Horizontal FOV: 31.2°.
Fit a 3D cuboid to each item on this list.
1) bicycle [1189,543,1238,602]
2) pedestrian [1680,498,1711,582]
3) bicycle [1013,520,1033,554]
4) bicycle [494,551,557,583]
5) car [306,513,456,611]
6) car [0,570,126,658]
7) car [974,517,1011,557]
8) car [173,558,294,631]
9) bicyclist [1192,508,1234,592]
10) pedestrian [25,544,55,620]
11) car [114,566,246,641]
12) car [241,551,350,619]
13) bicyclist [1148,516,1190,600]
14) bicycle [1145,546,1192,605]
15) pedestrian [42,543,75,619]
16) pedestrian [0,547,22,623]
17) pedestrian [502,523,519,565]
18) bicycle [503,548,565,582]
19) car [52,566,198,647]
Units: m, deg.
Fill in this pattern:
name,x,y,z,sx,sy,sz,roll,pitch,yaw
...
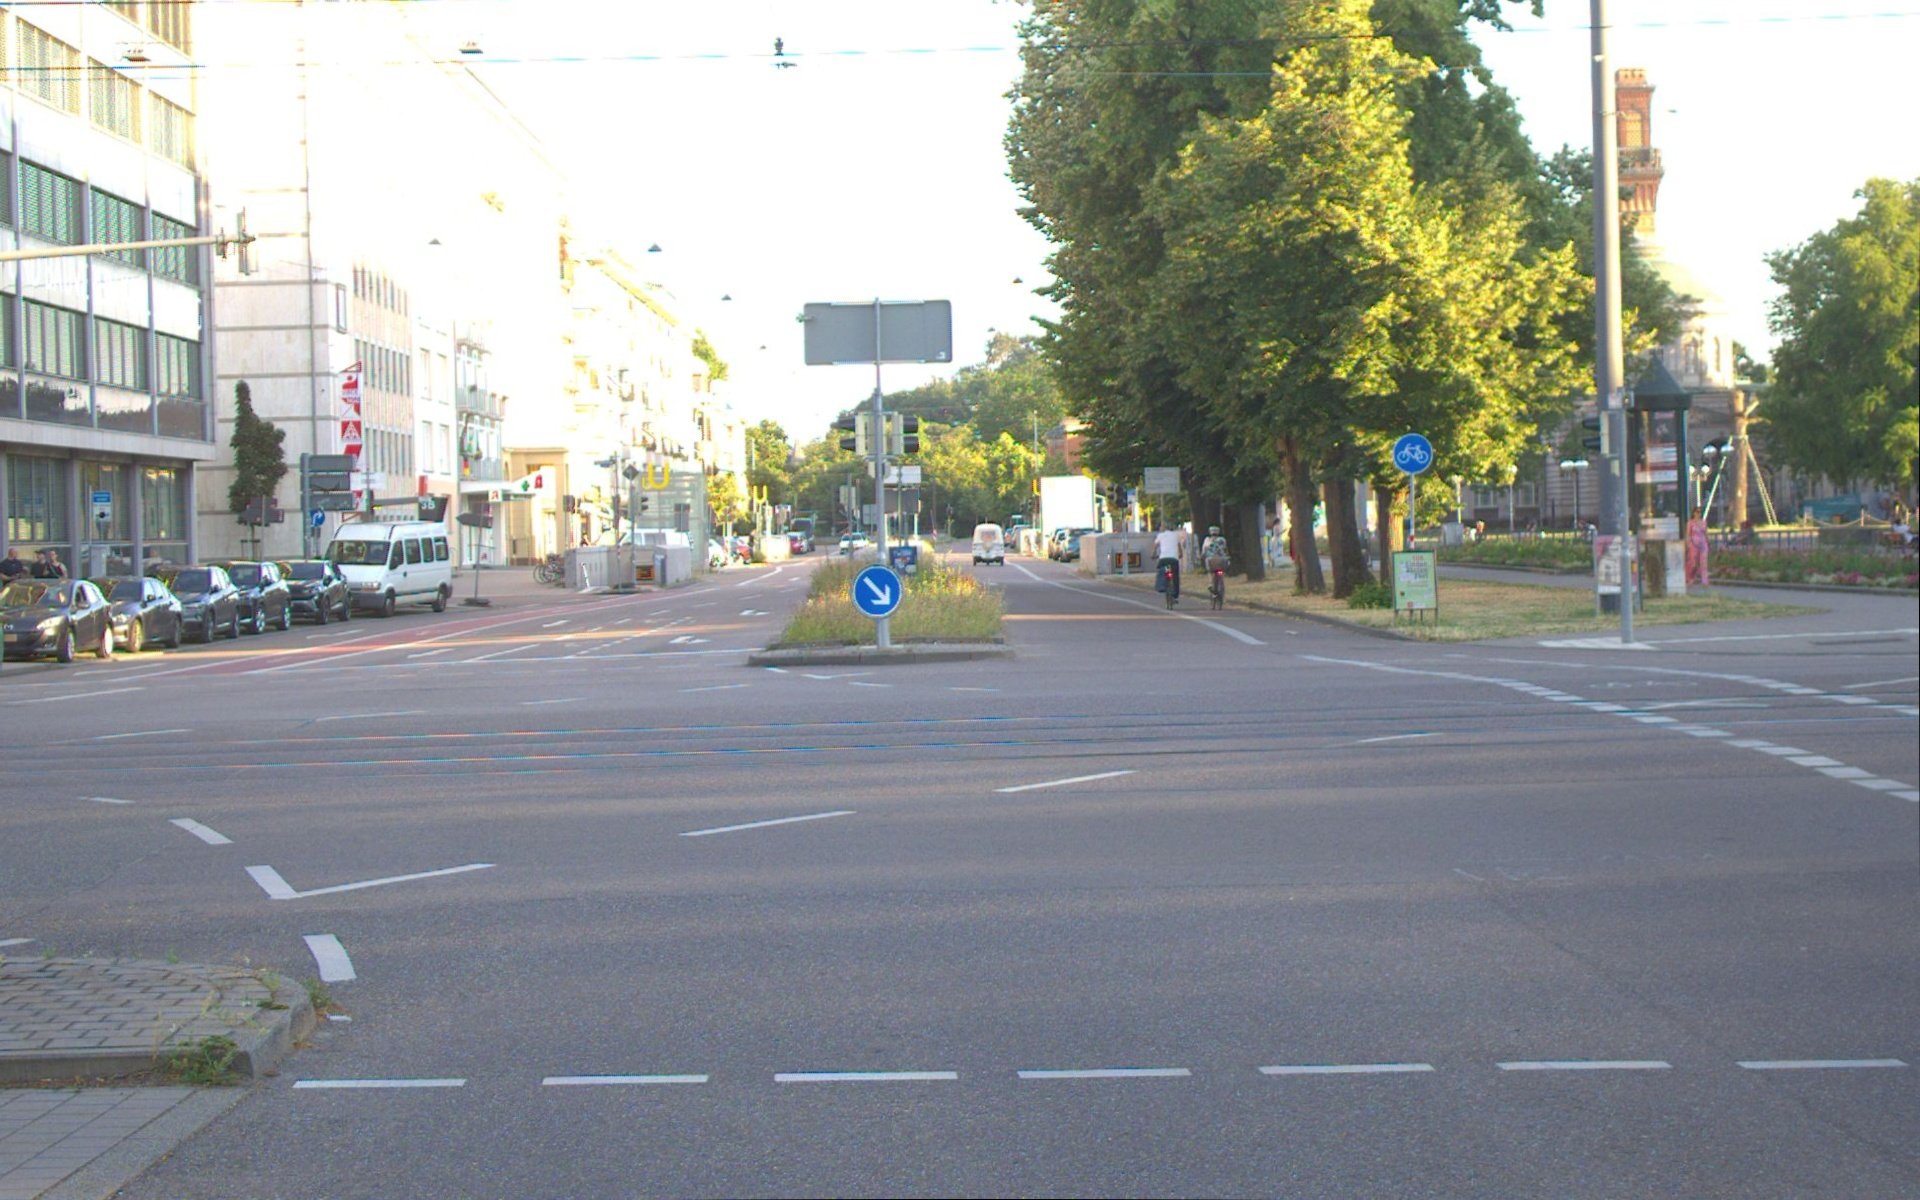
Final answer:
name,x,y,z,sx,sy,sz,roll,pitch,yaw
bicycle,5.141,-0.565,69.795,0.746,1.140,2.505,-2,1,-1
pedestrian,14.646,-1.191,68.459,0.460,1.651,0.567,-1,1,-1
bicycle,3.809,-3.835,207.668,1.002,2.007,4.000,-1,1,4
bicycle,-15.846,-1.214,125.457,2.205,1.108,0.619,-2,1,-2
car,-15.302,-1.049,91.230,2.002,2.469,5.865,-1,1,10
car,-16.488,0.236,61.941,1.920,1.459,4.103,-2,1,-1
car,1.385,-2.690,147.091,1.408,1.636,4.000,-2,1,-2
car,-16.559,-0.146,78.553,1.920,1.563,4.000,-2,1,-1
bicyclist,5.126,-1.015,69.801,0.746,1.685,0.799,-2,1,-1
pedestrian,-20.671,-0.404,77.241,0.500,1.673,0.500,-2,1,-1
car,-16.581,0.057,73.252,1.920,1.459,4.000,-2,1,-1
car,-16.361,-0.379,84.780,1.920,1.563,4.000,-2,1,-1
bicyclist,4.229,-0.855,69.649,0.746,1.658,0.873,-2,1,-1
bicycle,4.259,-0.513,70.348,0.746,1.140,2.505,-2,1,-1
pedestrian,-20.084,-0.418,76.597,0.551,1.673,0.500,-2,1,-1
pedestrian,-21.293,-0.338,76.735,0.551,1.673,0.500,-2,1,-1
pedestrian,-21.575,-2.690,165.096,0.680,2.007,0.545,-2,1,0
bicycle,-15.969,-1.312,128.882,2.205,1.232,0.839,-2,1,-2
car,-16.577,0.106,68.437,1.920,1.459,4.000,-2,1,-1
